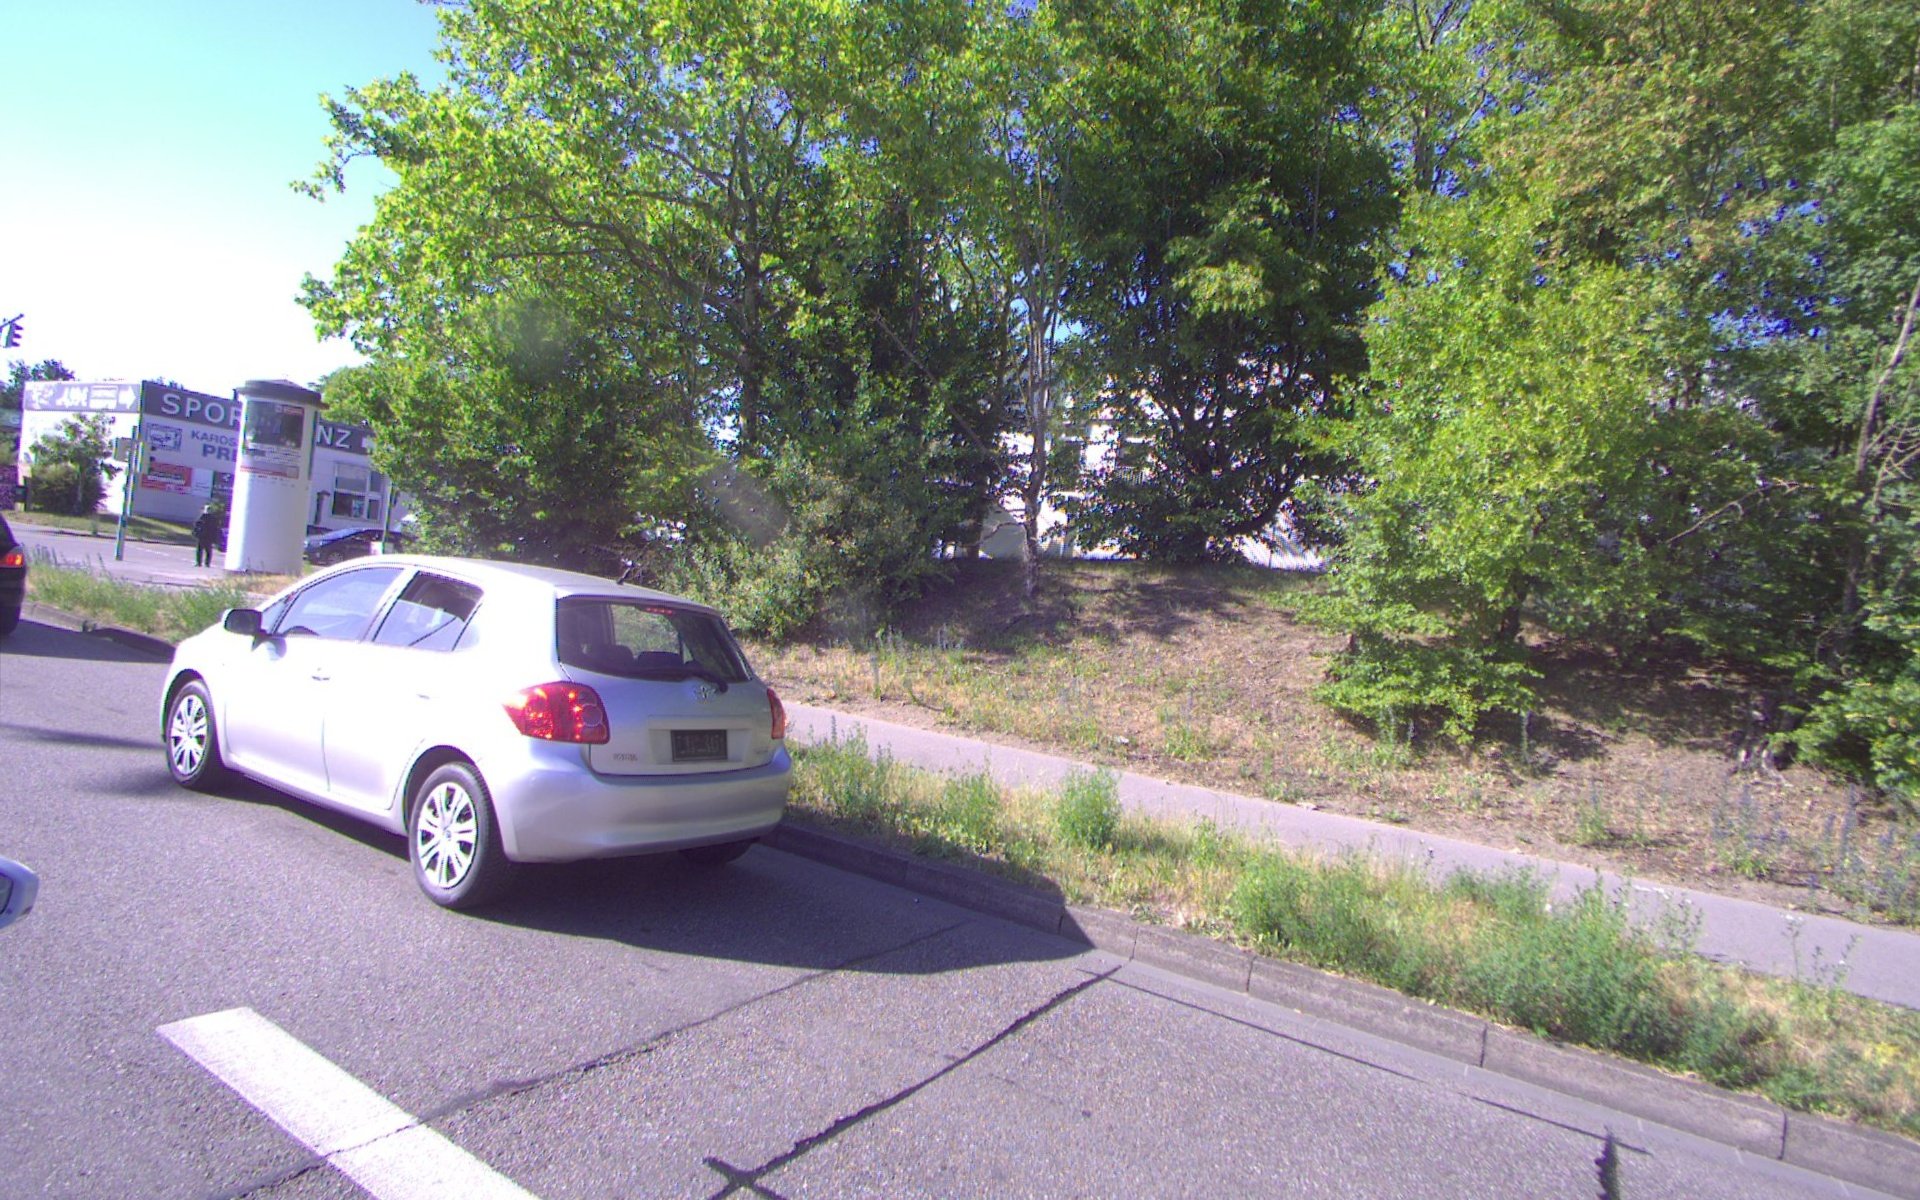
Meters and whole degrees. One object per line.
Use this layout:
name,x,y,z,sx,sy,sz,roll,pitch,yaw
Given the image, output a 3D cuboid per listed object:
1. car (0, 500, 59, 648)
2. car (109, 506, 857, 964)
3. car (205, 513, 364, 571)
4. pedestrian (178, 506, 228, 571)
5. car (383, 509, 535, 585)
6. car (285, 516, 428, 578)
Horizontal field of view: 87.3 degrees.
car,-11.683,-0.528,10.793,4.299,1.458,1.737,7,-2,32
car,-2.815,0.511,5.709,4.039,1.555,1.787,7,-1,32
car,-26.422,-2.230,39.528,1.729,1.484,4.830,6,-2,30
pedestrian,-21.074,-1.706,28.012,0.506,1.688,0.818,6,-1,31
car,-22.570,-2.341,45.637,1.967,2.706,5.840,6,0,32
car,-22.978,-1.986,38.460,1.611,1.668,4.316,6,-2,31
